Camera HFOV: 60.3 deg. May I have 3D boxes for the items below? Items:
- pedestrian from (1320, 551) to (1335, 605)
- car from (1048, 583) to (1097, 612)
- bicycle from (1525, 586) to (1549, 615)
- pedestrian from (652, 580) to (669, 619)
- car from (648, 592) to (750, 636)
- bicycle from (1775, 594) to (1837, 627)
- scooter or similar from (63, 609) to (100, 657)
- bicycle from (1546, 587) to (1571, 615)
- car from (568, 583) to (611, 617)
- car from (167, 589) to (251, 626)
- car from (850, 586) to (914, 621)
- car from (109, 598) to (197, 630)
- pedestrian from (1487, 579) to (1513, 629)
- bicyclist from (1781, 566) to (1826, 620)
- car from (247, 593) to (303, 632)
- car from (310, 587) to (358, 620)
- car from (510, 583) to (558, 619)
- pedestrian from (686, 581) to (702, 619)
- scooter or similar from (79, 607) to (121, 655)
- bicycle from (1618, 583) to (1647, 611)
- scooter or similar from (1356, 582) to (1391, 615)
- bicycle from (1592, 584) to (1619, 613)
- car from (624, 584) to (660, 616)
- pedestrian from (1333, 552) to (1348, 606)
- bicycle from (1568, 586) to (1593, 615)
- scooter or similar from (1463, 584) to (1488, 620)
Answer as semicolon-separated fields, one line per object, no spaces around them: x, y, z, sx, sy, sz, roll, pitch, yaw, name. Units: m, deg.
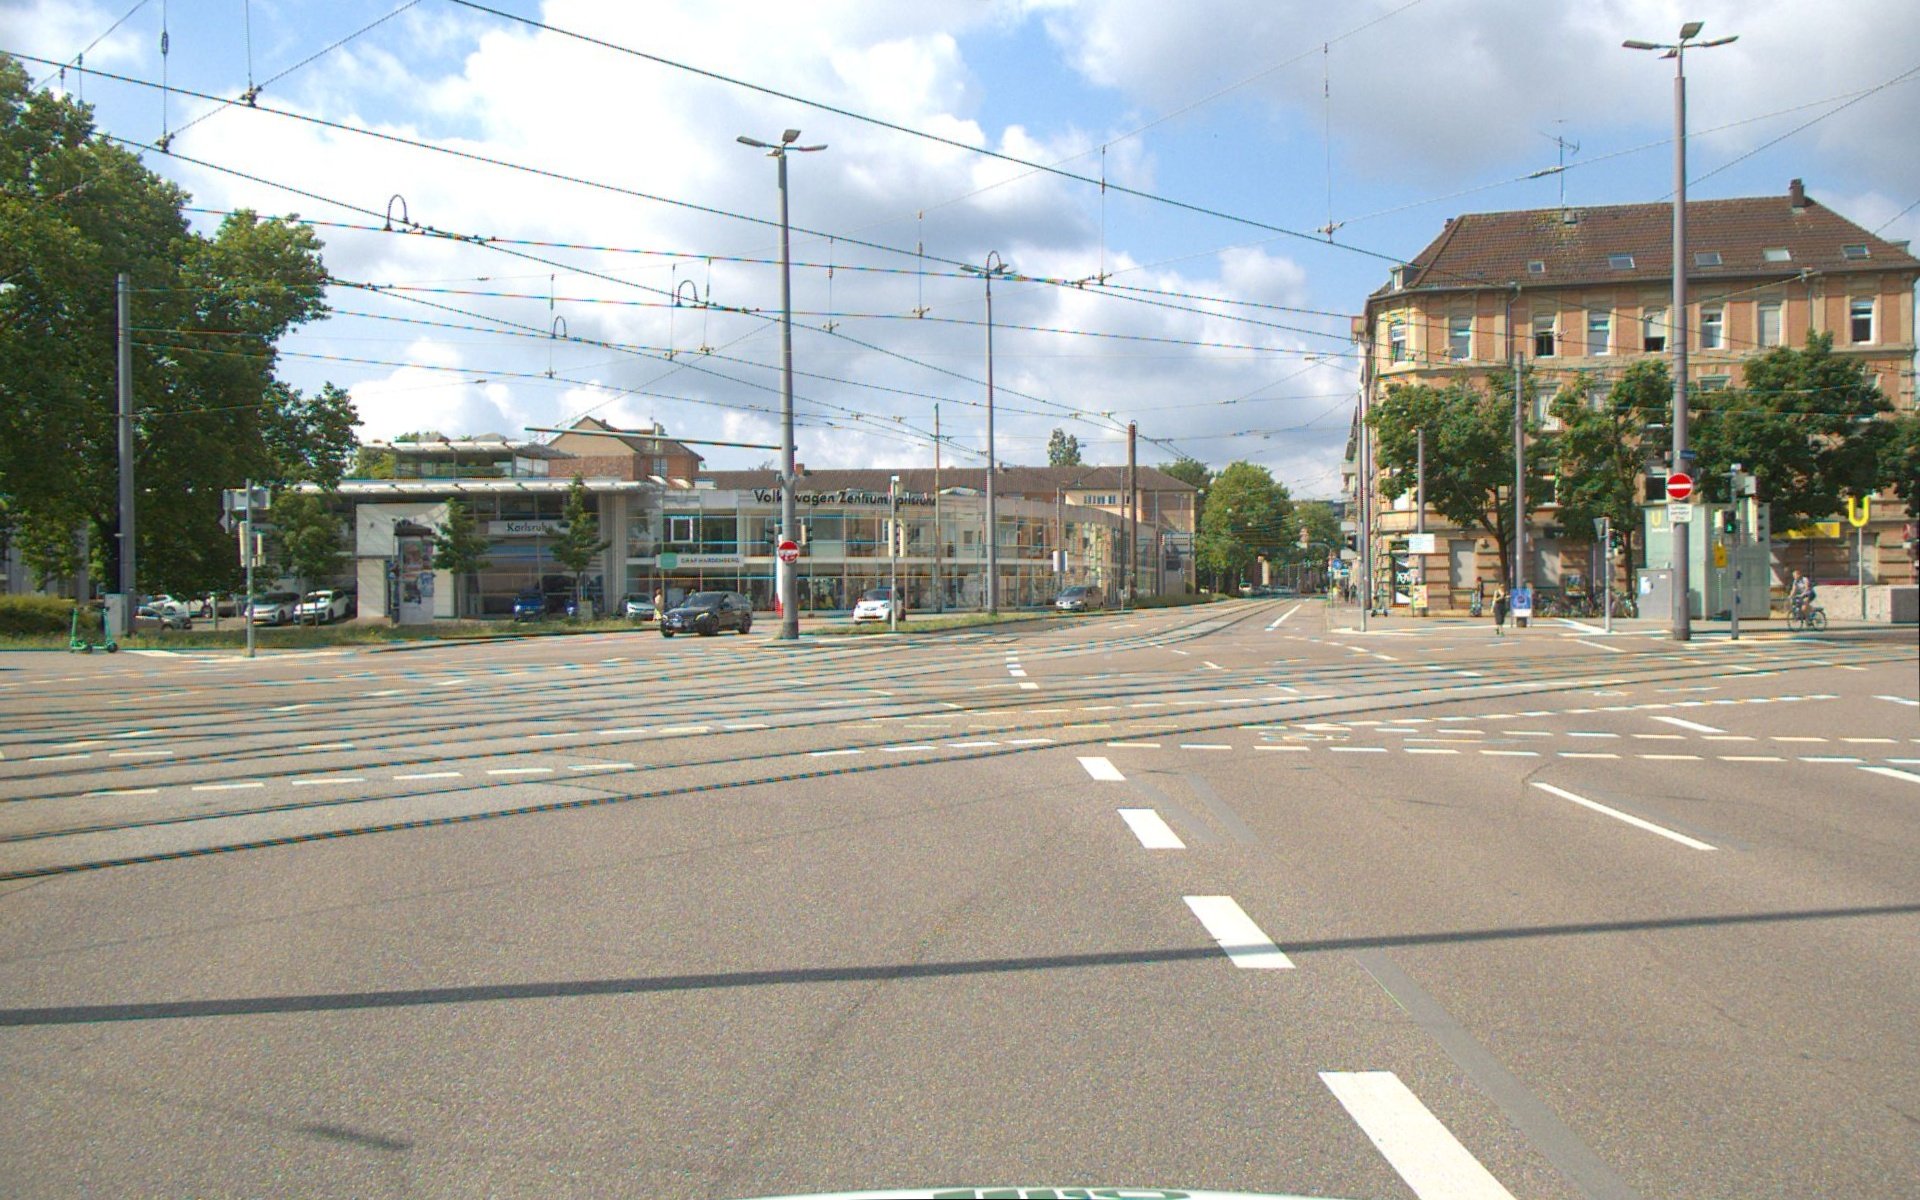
21.616;-1.295;97.315;0.652;3.175;0.888;1;-1;22;pedestrian
6.499;-0.165;94.912;1.952;1.601;3.738;-1;0;18;car
24.851;0.013;71.231;0.742;1.186;2.687;-1;0;14;bicycle
-15.656;-0.036;86.507;0.792;2.049;0.807;-1;0;-7;pedestrian
-8.597;0.436;54.871;1.825;1.400;3.943;-1;0;16;car
27.100;0.339;52.964;1.750;0.973;0.840;-1;-1;-24;bicycle
-22.533;0.848;42.434;1.043;1.217;0.380;1;-1;35;scooter or similar
25.686;0.037;70.963;0.742;1.186;2.687;1;1;14;bicycle
-20.138;0.018;90.034;1.956;1.756;3.992;1;-1;-8;car
-43.647;0.426;96.176;3.904;2.049;2.001;1;-1;2;car
-3.437;0.182;73.667;1.650;1.495;3.658;1;-1;18;car
-41.097;0.714;84.310;3.596;1.514;1.672;2;0;-2;car
16.613;0.127;50.867;0.725;1.542;0.545;-1;0;21;pedestrian
27.009;-0.221;52.936;1.124;1.704;0.613;-1;0;-12;bicyclist
-37.256;0.683;90.075;1.958;2.049;3.989;2;-1;-11;car
-34.350;0.185;90.788;1.753;1.712;3.990;-1;0;-11;car
-23.273;0.076;90.410;1.956;1.870;3.994;-1;0;-7;car
-14.351;-0.017;89.209;0.853;2.049;0.702;-1;0;-11;pedestrian
-22.311;0.799;42.924;1.040;1.217;0.381;1;-1;24;scooter or similar
28.610;-0.136;70.390;0.742;1.186;2.687;-1;0;14;bicycle
18.267;-0.055;73.098;1.151;1.410;2.806;1;-1;7;scooter or similar
27.423;-0.074;70.320;0.742;1.186;2.687;-1;0;14;bicycle
-17.704;0.005;92.050;1.894;1.713;3.989;1;-1;-11;car
22.309;-1.250;97.018;0.710;3.130;0.888;1;-1;22;pedestrian
26.515;0.036;70.704;0.742;1.186;2.687;1;-1;15;bicycle
22.205;0.080;71.247;0.859;1.508;2.016;-1;0;13;scooter or similar
